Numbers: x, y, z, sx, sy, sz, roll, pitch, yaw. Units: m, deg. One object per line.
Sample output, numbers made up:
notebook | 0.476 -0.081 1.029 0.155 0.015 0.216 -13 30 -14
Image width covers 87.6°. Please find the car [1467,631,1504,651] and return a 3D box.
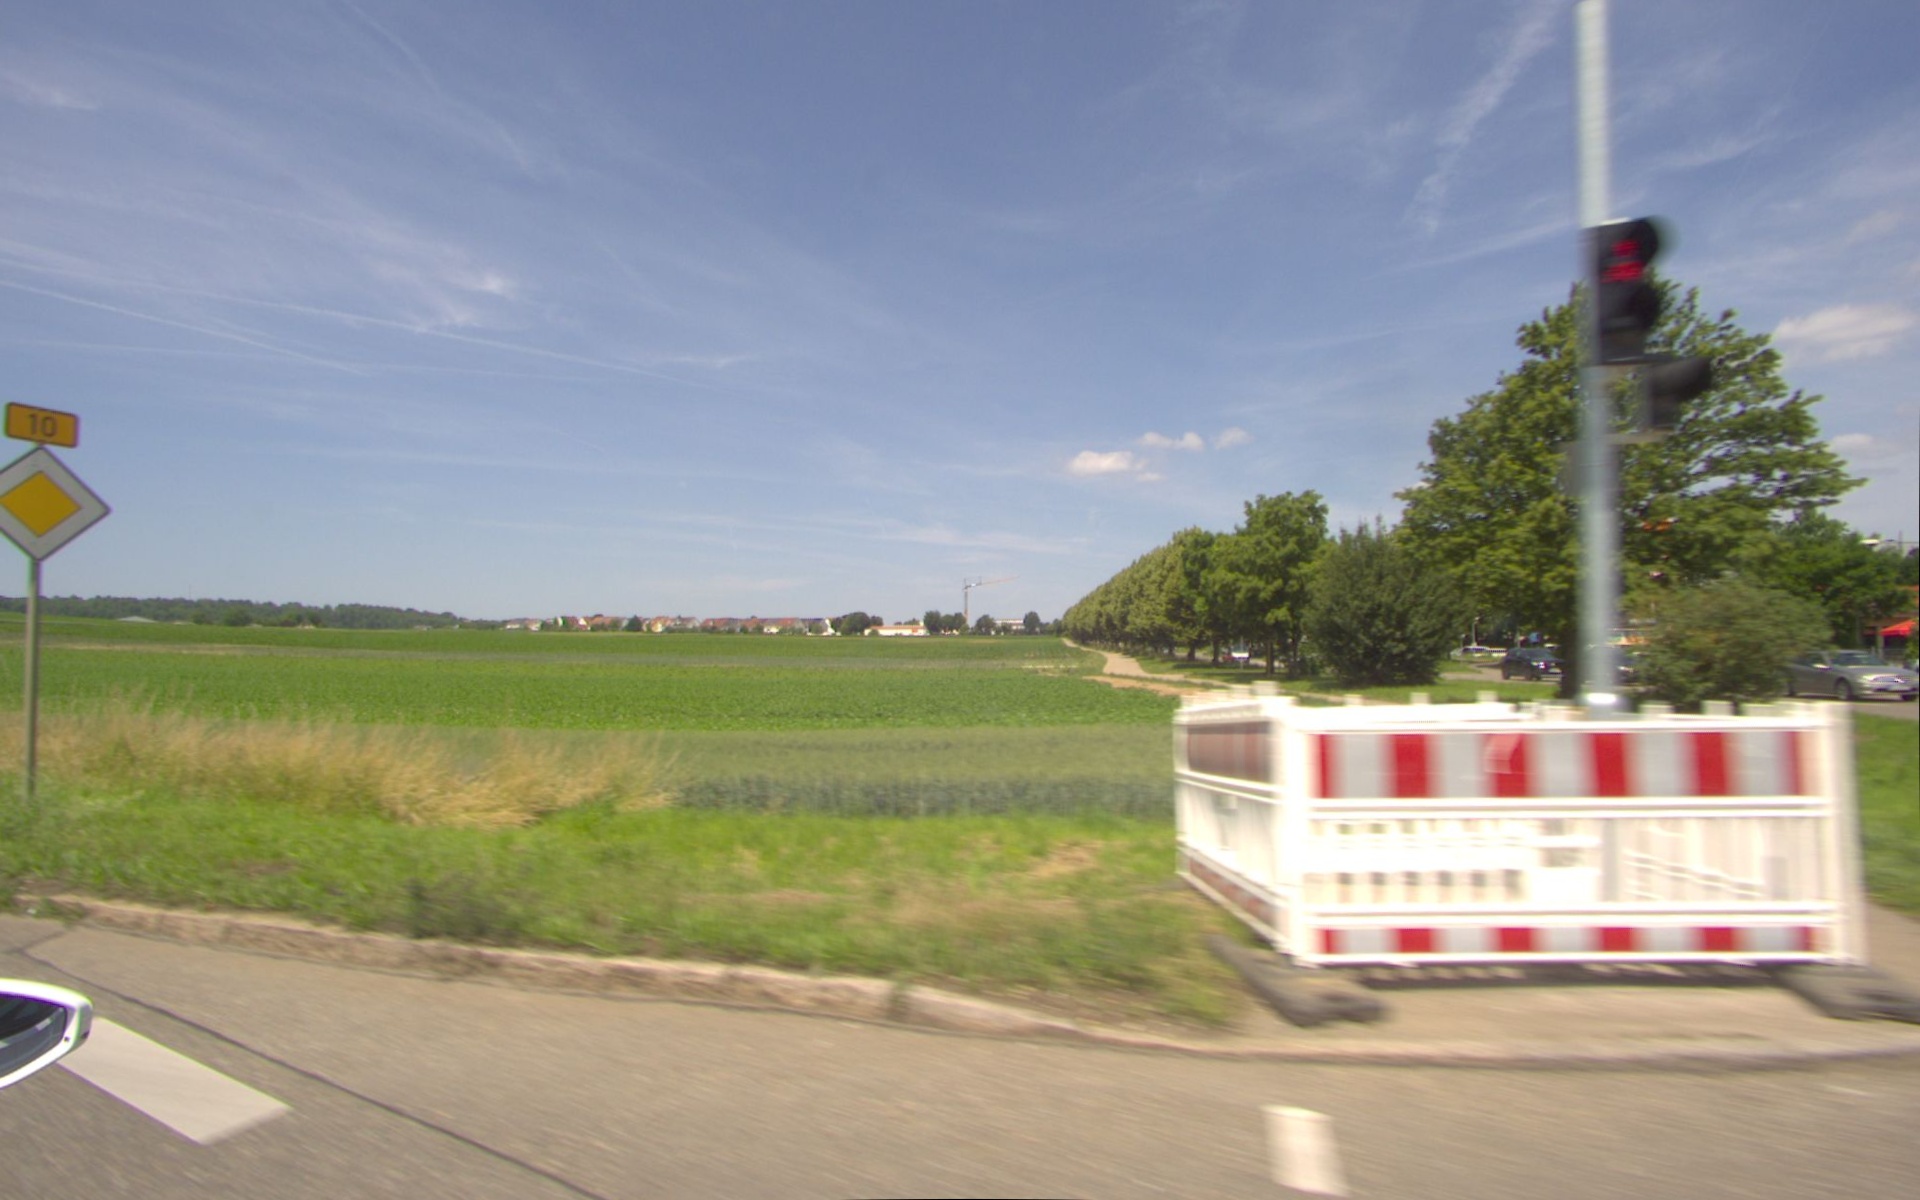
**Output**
car | 51.125 3.982 97.517 1.788 1.847 4.002 -2 -3 7

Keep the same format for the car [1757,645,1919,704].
car | 25.192 2.082 28.515 1.766 1.528 4.564 -2 -3 8

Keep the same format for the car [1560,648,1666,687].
car | 27.196 2.792 41.884 1.766 1.528 4.236 -1 -3 2

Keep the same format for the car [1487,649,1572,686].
car | 28.010 3.293 49.404 1.961 1.718 4.294 -2 -3 5

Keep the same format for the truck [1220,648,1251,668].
truck | 29.795 6.269 108.386 1.766 2.000 5.480 -1 -3 0

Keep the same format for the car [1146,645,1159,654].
car | 35.980 9.330 187.222 1.961 1.669 4.003 -1 -3 2

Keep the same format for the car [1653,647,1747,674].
car | 46.102 3.806 62.447 4.456 1.578 1.861 -4 -4 44

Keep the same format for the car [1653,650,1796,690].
car | 26.633 2.432 35.105 1.766 1.288 4.565 -1 -3 5

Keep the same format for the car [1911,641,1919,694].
car | 31.846 2.084 30.412 1.831 1.713 4.529 -2 -3 5
